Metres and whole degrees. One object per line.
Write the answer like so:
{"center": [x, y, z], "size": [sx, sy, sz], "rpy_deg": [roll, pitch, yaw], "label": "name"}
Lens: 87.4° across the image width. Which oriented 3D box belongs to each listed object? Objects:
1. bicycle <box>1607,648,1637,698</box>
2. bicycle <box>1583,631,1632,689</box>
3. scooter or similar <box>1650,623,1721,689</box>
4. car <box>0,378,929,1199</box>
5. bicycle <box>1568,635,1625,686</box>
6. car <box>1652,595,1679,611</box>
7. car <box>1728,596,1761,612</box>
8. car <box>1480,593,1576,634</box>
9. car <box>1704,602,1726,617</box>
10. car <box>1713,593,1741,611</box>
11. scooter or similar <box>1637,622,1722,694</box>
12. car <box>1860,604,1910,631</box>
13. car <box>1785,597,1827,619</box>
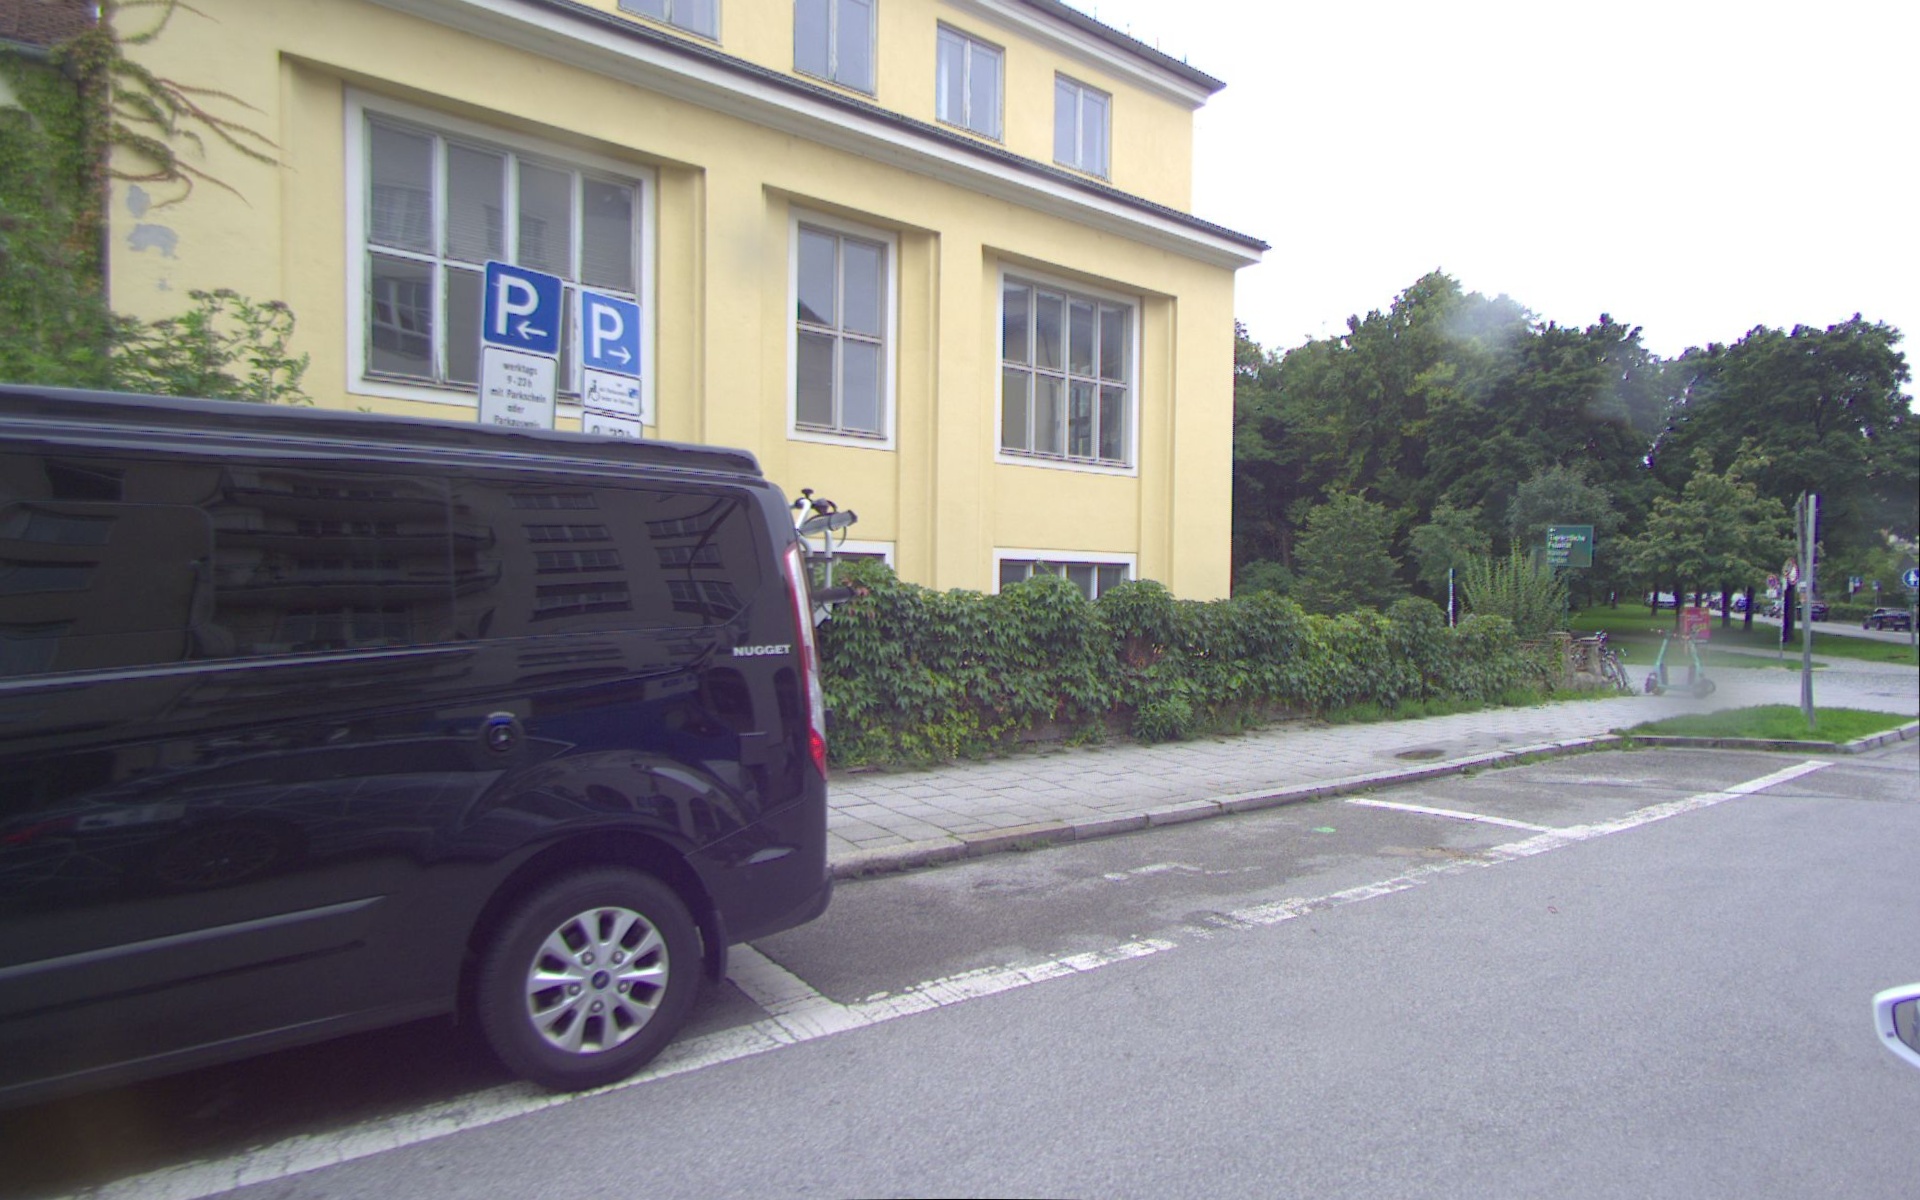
{"center": [12.735, 1.383, 19.323], "size": [0.427, 0.905, 1.326], "rpy_deg": [1, -1, 35], "label": "bicycle"}
{"center": [13.366, 1.226, 20.756], "size": [0.295, 1.126, 1.192], "rpy_deg": [2, 0, 5], "label": "bicycle"}
{"center": [14.110, 1.079, 19.544], "size": [1.033, 1.228, 0.439], "rpy_deg": [2, 0, -4], "label": "scooter or similar"}
{"center": [-2.549, 0.517, 3.256], "size": [4.573, 2.005, 1.914], "rpy_deg": [0, -2, -33], "label": "car"}
{"center": [13.223, 1.238, 20.905], "size": [0.406, 0.990, 1.276], "rpy_deg": [0, 0, 1], "label": "bicycle"}
{"center": [75.365, 0.316, 107.353], "size": [1.964, 1.622, 4.458], "rpy_deg": [1, 1, 30], "label": "car"}
{"center": [81.174, 0.400, 103.961], "size": [1.964, 1.622, 4.247], "rpy_deg": [1, 1, 29], "label": "car"}
{"center": [28.641, 0.667, 50.725], "size": [3.923, 2.040, 1.786], "rpy_deg": [0, 0, -4], "label": "car"}
{"center": [91.564, 1.136, 121.842], "size": [1.703, 1.725, 3.991], "rpy_deg": [1, 1, 31], "label": "car"}
{"center": [85.689, 0.204, 112.293], "size": [2.037, 1.992, 4.964], "rpy_deg": [1, 1, 33], "label": "car"}
{"center": [13.591, 1.082, 18.996], "size": [0.389, 1.260, 1.257], "rpy_deg": [2, 0, -24], "label": "scooter or similar"}
{"center": [58.323, 1.063, 63.359], "size": [1.623, 1.579, 3.551], "rpy_deg": [1, 1, 31], "label": "car"}
{"center": [67.834, 0.648, 80.629], "size": [1.766, 1.702, 3.993], "rpy_deg": [1, 1, 29], "label": "car"}
